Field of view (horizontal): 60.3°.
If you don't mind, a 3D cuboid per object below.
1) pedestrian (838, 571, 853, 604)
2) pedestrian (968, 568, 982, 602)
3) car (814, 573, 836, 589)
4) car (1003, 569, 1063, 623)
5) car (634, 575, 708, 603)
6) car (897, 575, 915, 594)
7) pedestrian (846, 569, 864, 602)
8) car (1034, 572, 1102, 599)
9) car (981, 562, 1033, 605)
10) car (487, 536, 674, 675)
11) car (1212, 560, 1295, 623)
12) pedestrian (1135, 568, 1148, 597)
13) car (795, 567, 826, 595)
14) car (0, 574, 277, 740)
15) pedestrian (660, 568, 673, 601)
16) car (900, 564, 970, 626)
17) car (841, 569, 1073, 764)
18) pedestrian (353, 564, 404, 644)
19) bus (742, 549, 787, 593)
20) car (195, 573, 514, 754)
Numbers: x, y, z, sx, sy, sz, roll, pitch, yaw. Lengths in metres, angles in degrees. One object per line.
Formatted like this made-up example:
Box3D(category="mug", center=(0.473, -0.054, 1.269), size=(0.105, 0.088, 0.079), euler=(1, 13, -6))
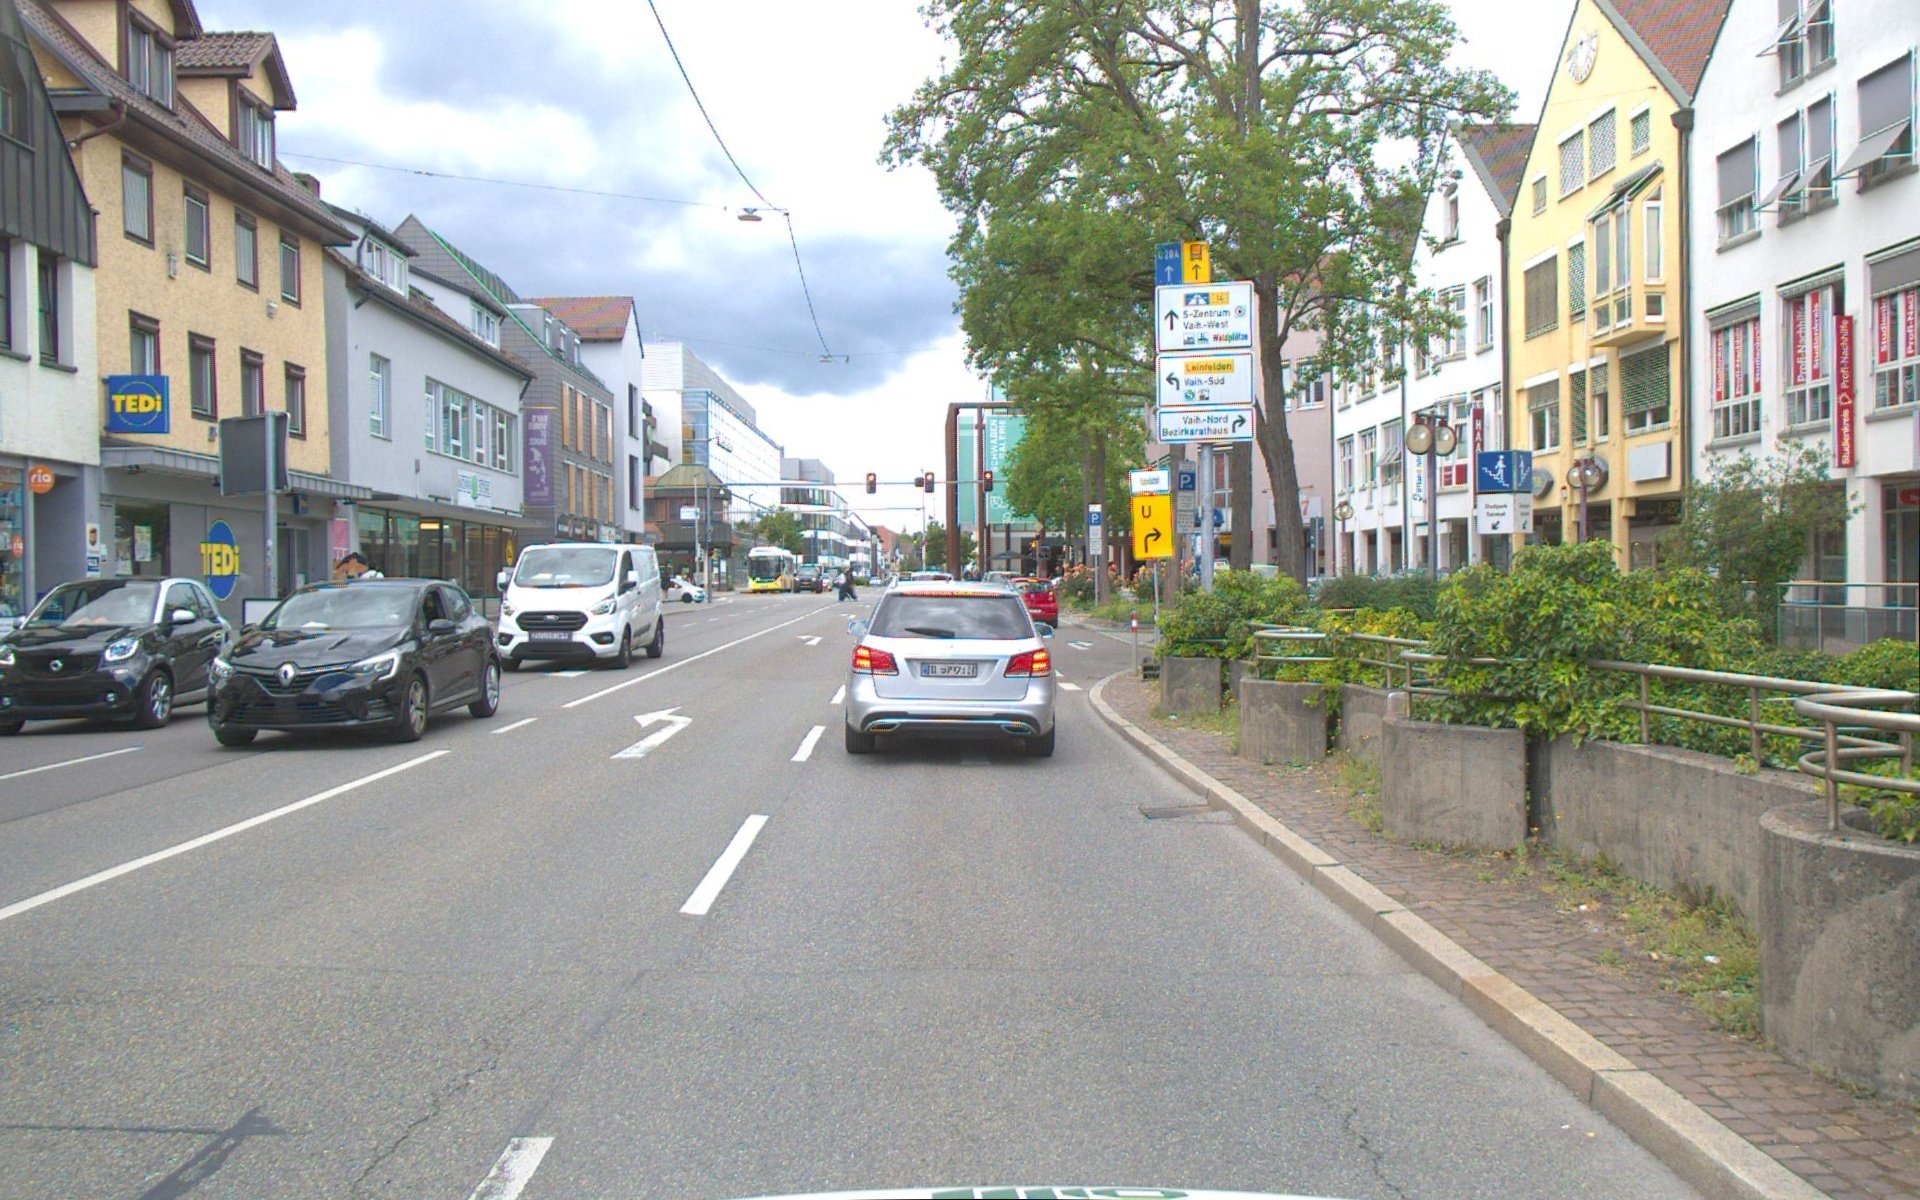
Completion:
Box3D(category="pedestrian", center=(-5.767, -0.625, 83.226), size=(0.602, 1.663, 0.586), euler=(2, 1, -10))
Box3D(category="pedestrian", center=(0.762, -0.768, 84.029), size=(0.601, 1.663, 0.587), euler=(2, 1, -5))
Box3D(category="car", center=(-10.993, -1.544, 134.718), size=(1.543, 1.266, 3.606), euler=(-1, 1, -1))
Box3D(category="car", center=(2.186, -0.145, 50.571), size=(1.718, 1.547, 4.001), euler=(-1, 0, 1))
Box3D(category="car", center=(-16.678, -0.608, 95.444), size=(3.903, 1.556, 1.668), euler=(0, 1, 17))
Box3D(category="car", center=(-5.841, -1.669, 180.085), size=(1.953, 2.049, 3.999), euler=(-1, 1, -2))
Box3D(category="pedestrian", center=(-5.400, -0.766, 85.074), size=(0.840, 1.663, 0.588), euler=(2, 1, 0))
Box3D(category="car", center=(6.571, -0.903, 100.736), size=(4.016, 1.568, 1.580), euler=(-1, 1, 0))
Box3D(category="car", center=(1.916, -0.698, 68.408), size=(1.953, 1.713, 3.999), euler=(-1, 1, -1))
Box3D(category="car", center=(-6.104, 0.044, 27.241), size=(1.922, 1.995, 5.139), euler=(-2, 1, -1))
Box3D(category="car", center=(9.183, -0.295, 52.104), size=(1.829, 1.897, 3.999), euler=(-1, 1, -1))
Box3D(category="pedestrian", center=(10.392, -1.006, 94.751), size=(0.600, 1.663, 0.588), euler=(2, 1, 12))
Box3D(category="car", center=(-11.070, -1.428, 122.575), size=(1.953, 2.049, 4.000), euler=(-1, 1, -1))
Box3D(category="car", center=(-8.805, 0.529, 17.659), size=(1.584, 1.550, 3.507), euler=(-2, 1, -1))
Box3D(category="pedestrian", center=(-15.348, -0.801, 86.387), size=(0.576, 1.699, 0.639), euler=(2, 1, -14))
Box3D(category="car", center=(-0.748, -0.178, 48.872), size=(1.953, 1.713, 3.999), euler=(-1, 1, -1))
Box3D(category="car", center=(-0.129, 0.498, 15.113), size=(1.837, 1.532, 3.998), euler=(0, 1, -3))
Box3D(category="pedestrian", center=(-12.407, 0.084, 35.314), size=(0.801, 1.663, 0.979), euler=(1, 1, -7))
Box3D(category="bus", center=(-14.572, -2.151, 123.587), size=(2.719, 3.220, 5.932), euler=(-1, 1, -1))
Box3D(category="car", center=(-5.509, 0.489, 15.569), size=(1.584, 1.453, 3.922), euler=(-1, 1, -1))
